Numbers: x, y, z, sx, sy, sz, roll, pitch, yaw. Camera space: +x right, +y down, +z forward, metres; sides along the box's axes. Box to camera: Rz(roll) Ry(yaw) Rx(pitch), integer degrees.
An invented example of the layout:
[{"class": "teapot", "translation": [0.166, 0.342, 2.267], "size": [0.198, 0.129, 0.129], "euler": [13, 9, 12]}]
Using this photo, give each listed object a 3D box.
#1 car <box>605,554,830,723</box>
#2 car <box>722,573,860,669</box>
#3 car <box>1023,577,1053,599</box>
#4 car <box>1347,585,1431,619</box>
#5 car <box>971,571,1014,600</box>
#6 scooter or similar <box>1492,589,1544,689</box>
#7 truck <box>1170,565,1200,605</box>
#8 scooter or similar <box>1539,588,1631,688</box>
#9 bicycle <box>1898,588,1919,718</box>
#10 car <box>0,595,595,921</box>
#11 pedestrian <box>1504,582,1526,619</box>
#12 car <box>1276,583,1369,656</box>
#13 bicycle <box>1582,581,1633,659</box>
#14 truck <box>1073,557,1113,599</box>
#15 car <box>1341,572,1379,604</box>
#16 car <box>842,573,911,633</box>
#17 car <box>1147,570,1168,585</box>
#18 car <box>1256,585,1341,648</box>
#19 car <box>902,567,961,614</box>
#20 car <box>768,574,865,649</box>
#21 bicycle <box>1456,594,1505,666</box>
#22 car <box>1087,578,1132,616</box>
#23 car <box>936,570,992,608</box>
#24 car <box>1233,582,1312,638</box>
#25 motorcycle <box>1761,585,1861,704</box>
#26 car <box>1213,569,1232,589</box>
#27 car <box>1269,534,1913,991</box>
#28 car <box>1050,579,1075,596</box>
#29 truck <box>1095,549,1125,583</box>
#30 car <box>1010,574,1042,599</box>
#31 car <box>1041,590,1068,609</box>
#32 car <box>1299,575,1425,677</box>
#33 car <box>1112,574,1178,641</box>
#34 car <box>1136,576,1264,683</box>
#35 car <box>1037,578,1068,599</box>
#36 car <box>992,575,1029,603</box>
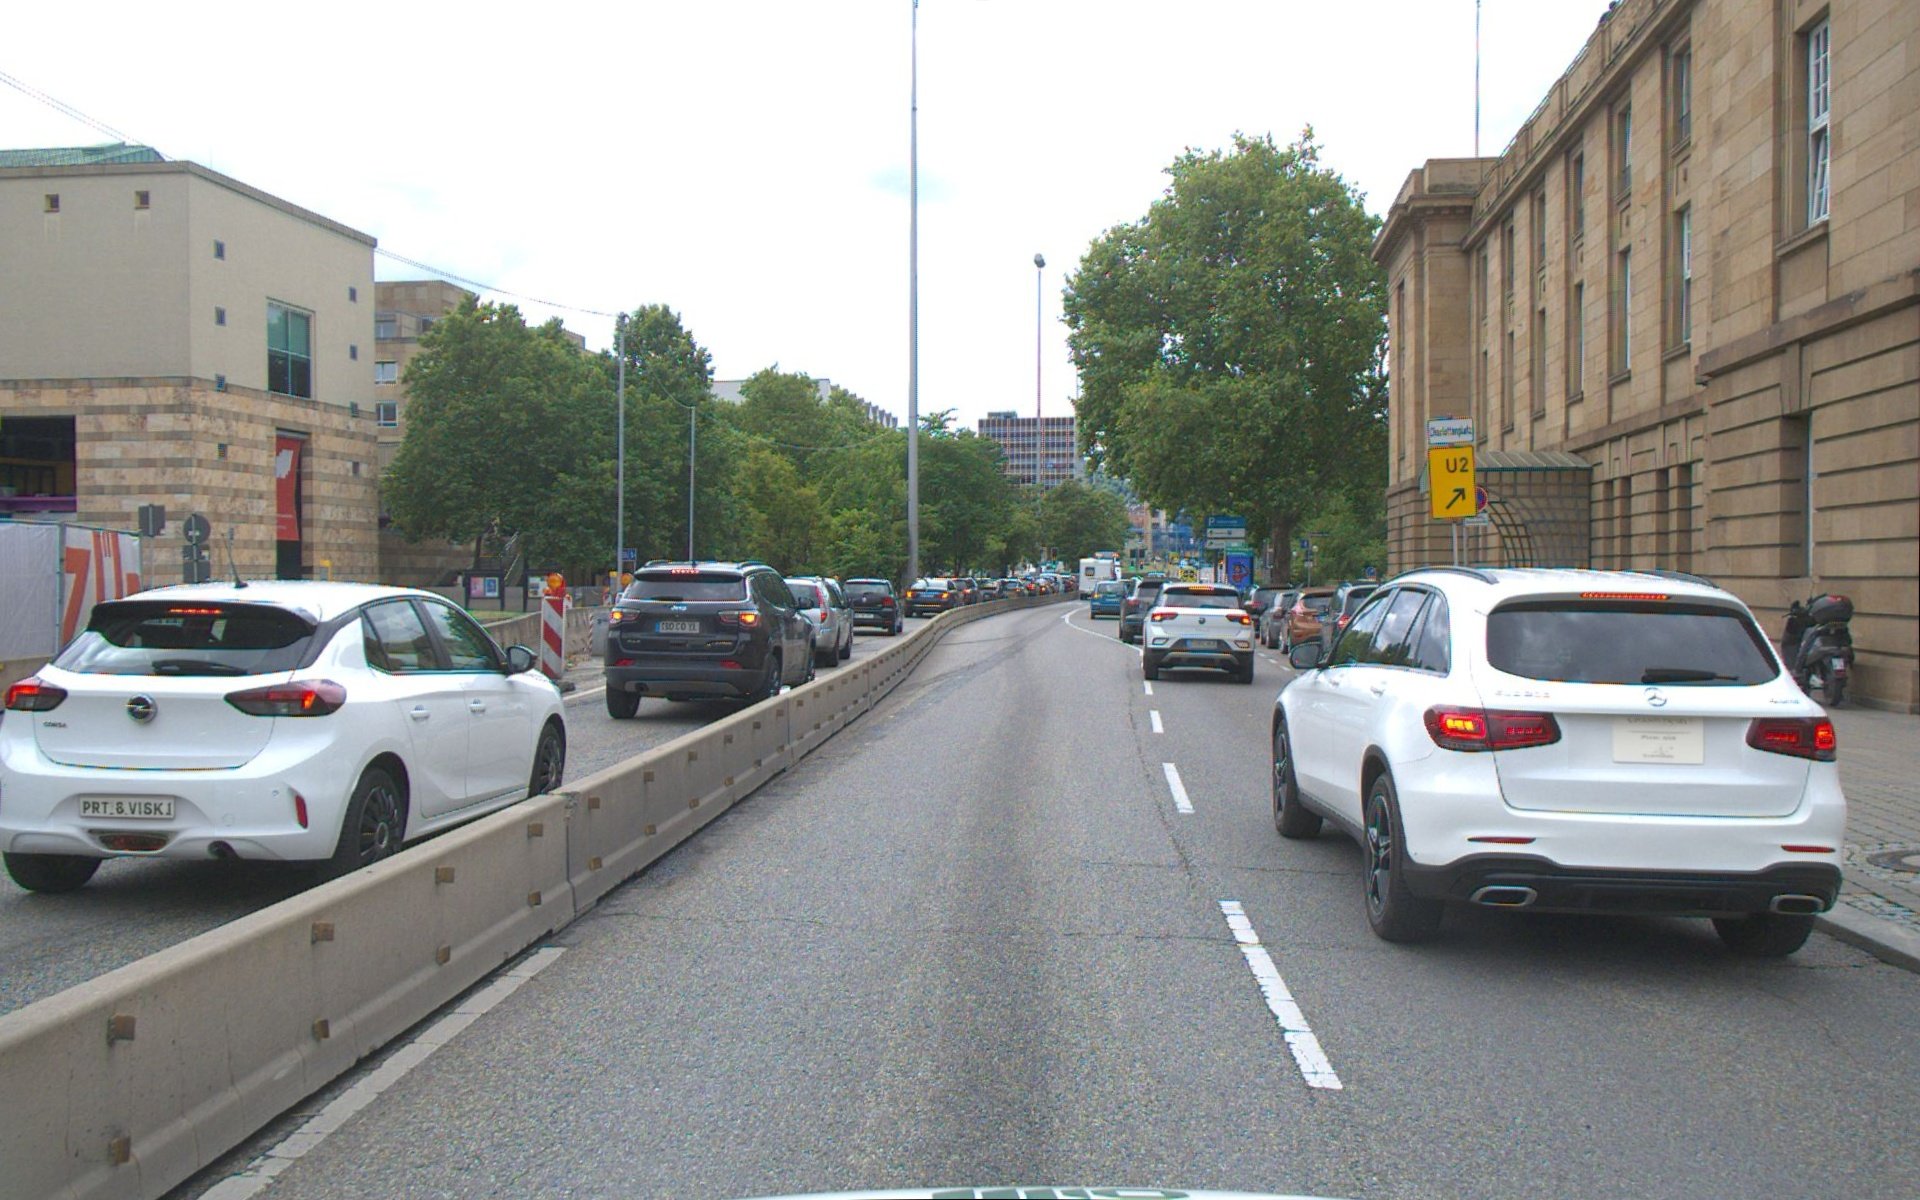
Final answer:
[{"class": "car", "translation": [-2.593, 0.374, 18.604], "size": [1.739, 1.649, 4.048], "euler": [1, 0, 2]}, {"class": "car", "translation": [-2.869, 0.317, 29.033], "size": [1.839, 1.507, 4.705], "euler": [1, 1, 1]}, {"class": "car", "translation": [5.077, -0.792, 106.945], "size": [1.624, 1.342, 3.550], "euler": [1, 1, 7]}, {"class": "car", "translation": [20.738, 0.086, 80.128], "size": [3.754, 1.596, 1.681], "euler": [1, 1, 8]}, {"class": "car", "translation": [1.650, -0.743, 82.135], "size": [1.642, 1.390, 4.547], "euler": [0, 1, 7]}, {"class": "scooter or similar", "translation": [7.421, 0.504, 22.045], "size": [0.371, 1.283, 1.404], "euler": [0, 0, 7]}, {"class": "truck", "translation": [24.329, -1.674, 179.203], "size": [2.816, 4.174, 6.642], "euler": [2, 1, 5]}, {"class": "scooter or similar", "translation": [8.236, 0.490, 21.847], "size": [0.443, 1.275, 1.364], "euler": [0, -1, -13]}, {"class": "bicycle", "translation": [9.487, 0.509, 15.276], "size": [0.596, 1.246, 1.964], "euler": [-3, 0, 4]}, {"class": "car", "translation": [-3.330, 0.650, 8.887], "size": [1.690, 1.318, 3.936], "euler": [1, 0, 2]}, {"class": "pedestrian", "translation": [13.523, 0.014, 40.273], "size": [0.420, 0.889, 0.373], "euler": [2, 0, 8]}, {"class": "car", "translation": [7.818, 0.381, 35.945], "size": [1.581, 1.480, 3.861], "euler": [-1, 0, 7]}, {"class": "bicycle", "translation": [11.279, 0.323, 28.848], "size": [0.403, 1.310, 1.792], "euler": [0, 1, 7]}, {"class": "truck", "translation": [9.845, -1.627, 121.857], "size": [2.565, 2.911, 7.084], "euler": [2, 1, 7]}, {"class": "car", "translation": [22.318, -0.684, 92.335], "size": [1.723, 1.578, 4.031], "euler": [0, 3, 9]}, {"class": "car", "translation": [-2.187, 0.052, 44.123], "size": [1.625, 1.479, 4.198], "euler": [1, 1, 0]}, {"class": "car", "translation": [19.207, -2.168, 160.849], "size": [1.905, 1.342, 4.020], "euler": [1, 1, 9]}, {"class": "car", "translation": [8.326, 0.368, 40.990], "size": [1.672, 1.451, 4.000], "euler": [-1, 0, 6]}, {"class": "car", "translation": [-1.009, -0.373, 61.943], "size": [1.883, 1.664, 4.938], "euler": [1, 1, 2]}, {"class": "car", "translation": [-3.122, 0.223, 36.630], "size": [1.637, 1.533, 3.855], "euler": [1, 1, 2]}, {"class": "bicycle", "translation": [8.959, 0.493, 28.495], "size": [0.450, 1.177, 1.832], "euler": [0, 1, 6]}, {"class": "car", "translation": [5.978, -0.109, 65.800], "size": [1.624, 1.438, 3.550], "euler": [1, 0, 7]}, {"class": "car", "translation": [0.213, -0.471, 69.962], "size": [1.777, 1.525, 4.773], "euler": [0, 1, 7]}, {"class": "car", "translation": [8.870, 0.256, 47.244], "size": [1.750, 1.512, 4.328], "euler": [1, 1, 5]}, {"class": "motorcycle", "translation": [9.572, 0.472, 18.671], "size": [0.445, 1.264, 1.924], "euler": [-1, 0, 10]}, {"class": "car", "translation": [27.505, -2.205, 173.198], "size": [1.951, 2.049, 4.003], "euler": [1, 0, 9]}, {"class": "car", "translation": [2.797, 0.597, 8.484], "size": [1.751, 1.653, 4.439], "euler": [2, 0, 3]}, {"class": "car", "translation": [8.099, -0.994, 130.704], "size": [1.624, 1.342, 3.550], "euler": [1, 1, 9]}, {"class": "truck", "translation": [14.500, -3.283, 159.631], "size": [2.635, 3.044, 5.642], "euler": [2, 0, 7]}, {"class": "car", "translation": [3.980, -0.820, 99.156], "size": [1.738, 1.445, 4.003], "euler": [0, 1, 5]}, {"class": "car", "translation": [6.914, -0.022, 120.736], "size": [1.624, 1.342, 3.550], "euler": [1, 1, 9]}, {"class": "car", "translation": [6.815, 0.396, 28.332], "size": [1.513, 1.579, 3.711], "euler": [-3, 0, 5]}, {"class": "car", "translation": [4.746, 0.157, 42.762], "size": [1.624, 1.667, 3.550], "euler": [0, 1, 5]}, {"class": "car", "translation": [3.916, 0.429, 27.511], "size": [1.758, 1.636, 3.757], "euler": [1, 1, 3]}, {"class": "car", "translation": [6.265, -0.769, 111.720], "size": [1.624, 1.342, 3.550], "euler": [1, 1, 11]}, {"class": "car", "translation": [2.780, -0.589, 90.991], "size": [1.626, 1.461, 3.963], "euler": [1, 0, 7]}]
